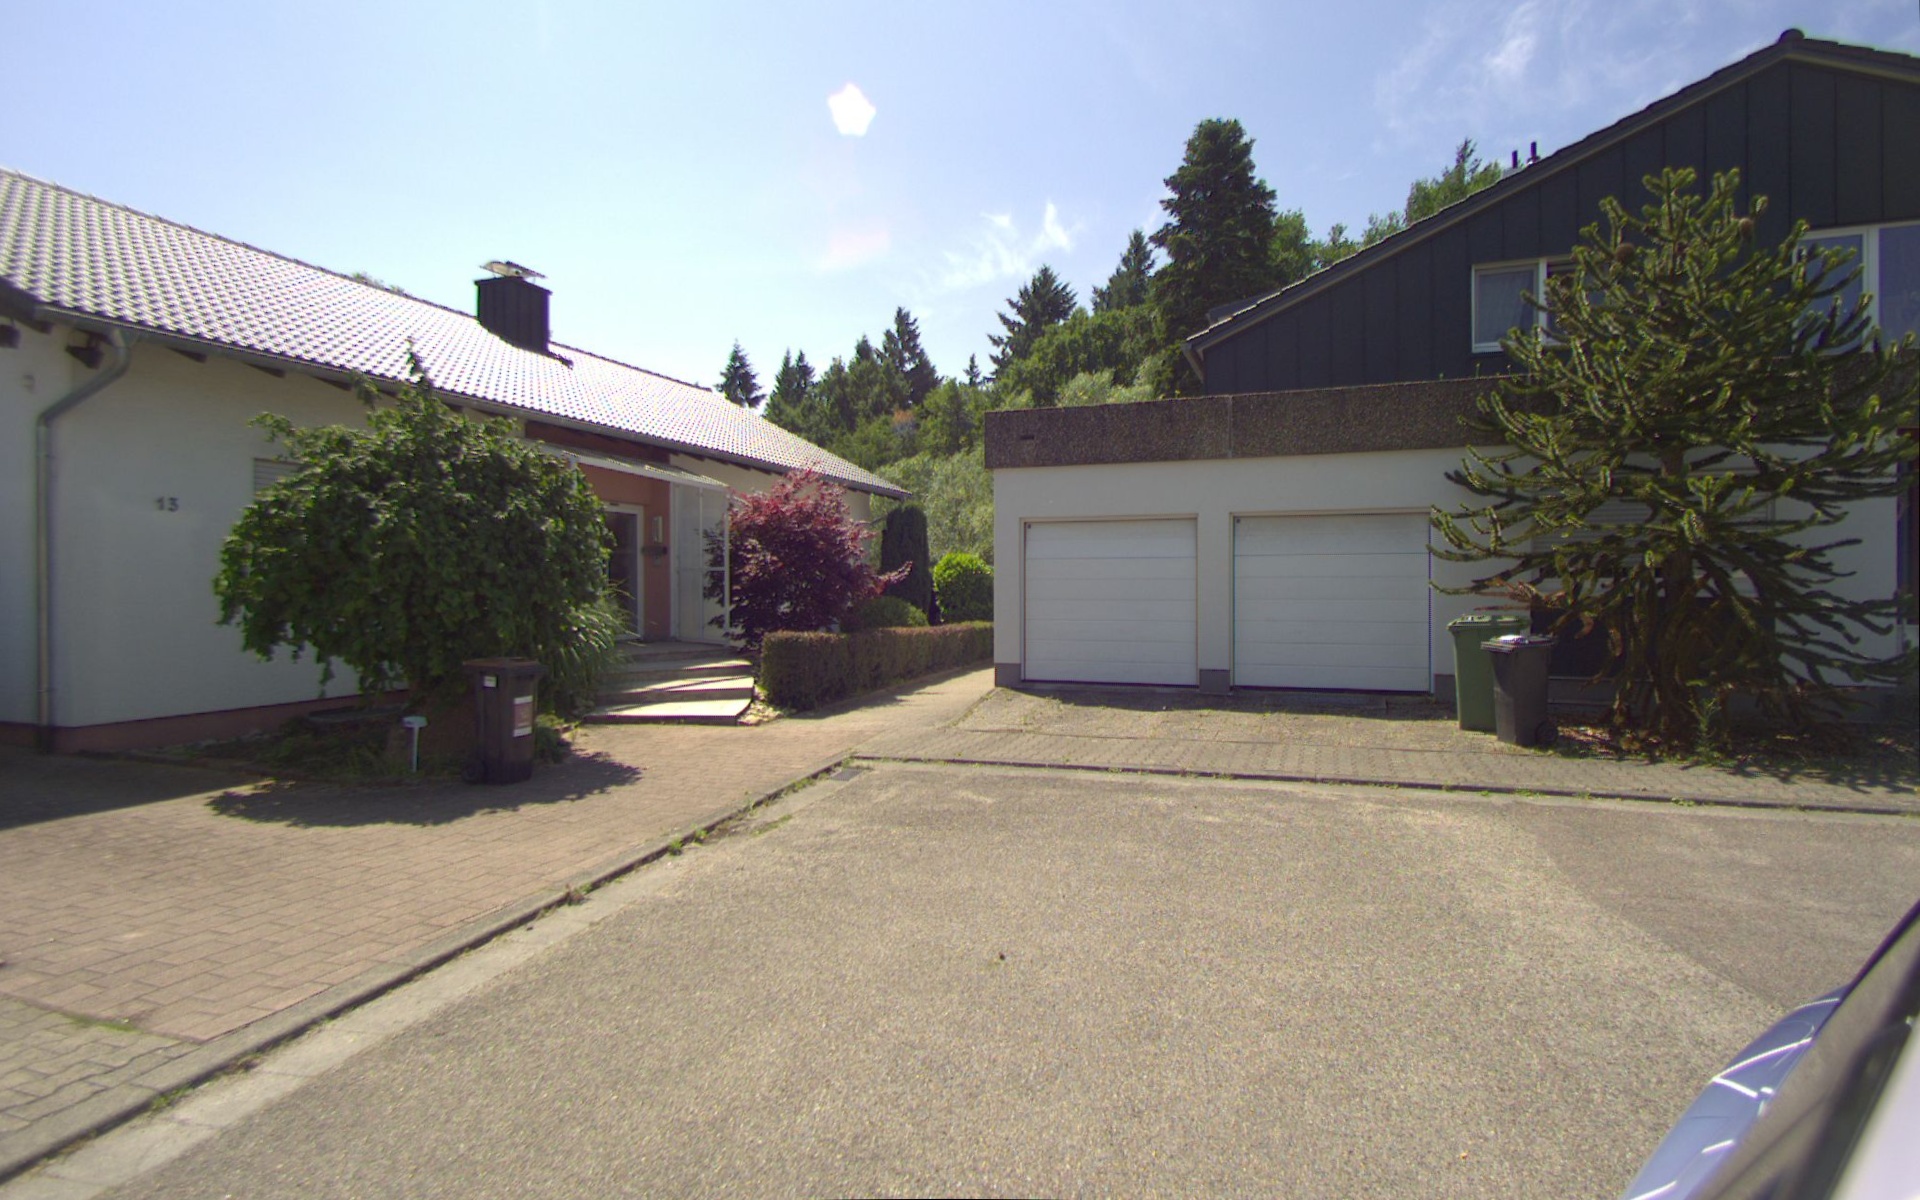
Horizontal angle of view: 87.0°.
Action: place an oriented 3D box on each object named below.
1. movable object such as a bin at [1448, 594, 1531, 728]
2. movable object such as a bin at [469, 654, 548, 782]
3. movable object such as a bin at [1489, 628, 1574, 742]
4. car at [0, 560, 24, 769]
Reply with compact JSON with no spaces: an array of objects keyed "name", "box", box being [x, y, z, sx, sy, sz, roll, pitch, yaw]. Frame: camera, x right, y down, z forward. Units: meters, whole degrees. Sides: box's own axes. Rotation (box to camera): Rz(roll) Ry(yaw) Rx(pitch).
[{"name":"movable object such as a bin","box":[5.037,0.558,9.653,0.626,1.218,0.547,0,0,21]},{"name":"movable object such as a bin","box":[-3.401,0.875,7.630,0.385,0.902,0.373,0,1,20]},{"name":"movable object such as a bin","box":[5.019,0.734,8.903,0.513,0.962,0.390,0,0,-6]},{"name":"car","box":[-9.365,0.492,7.587,3.946,1.588,1.743,0,1,18]}]
